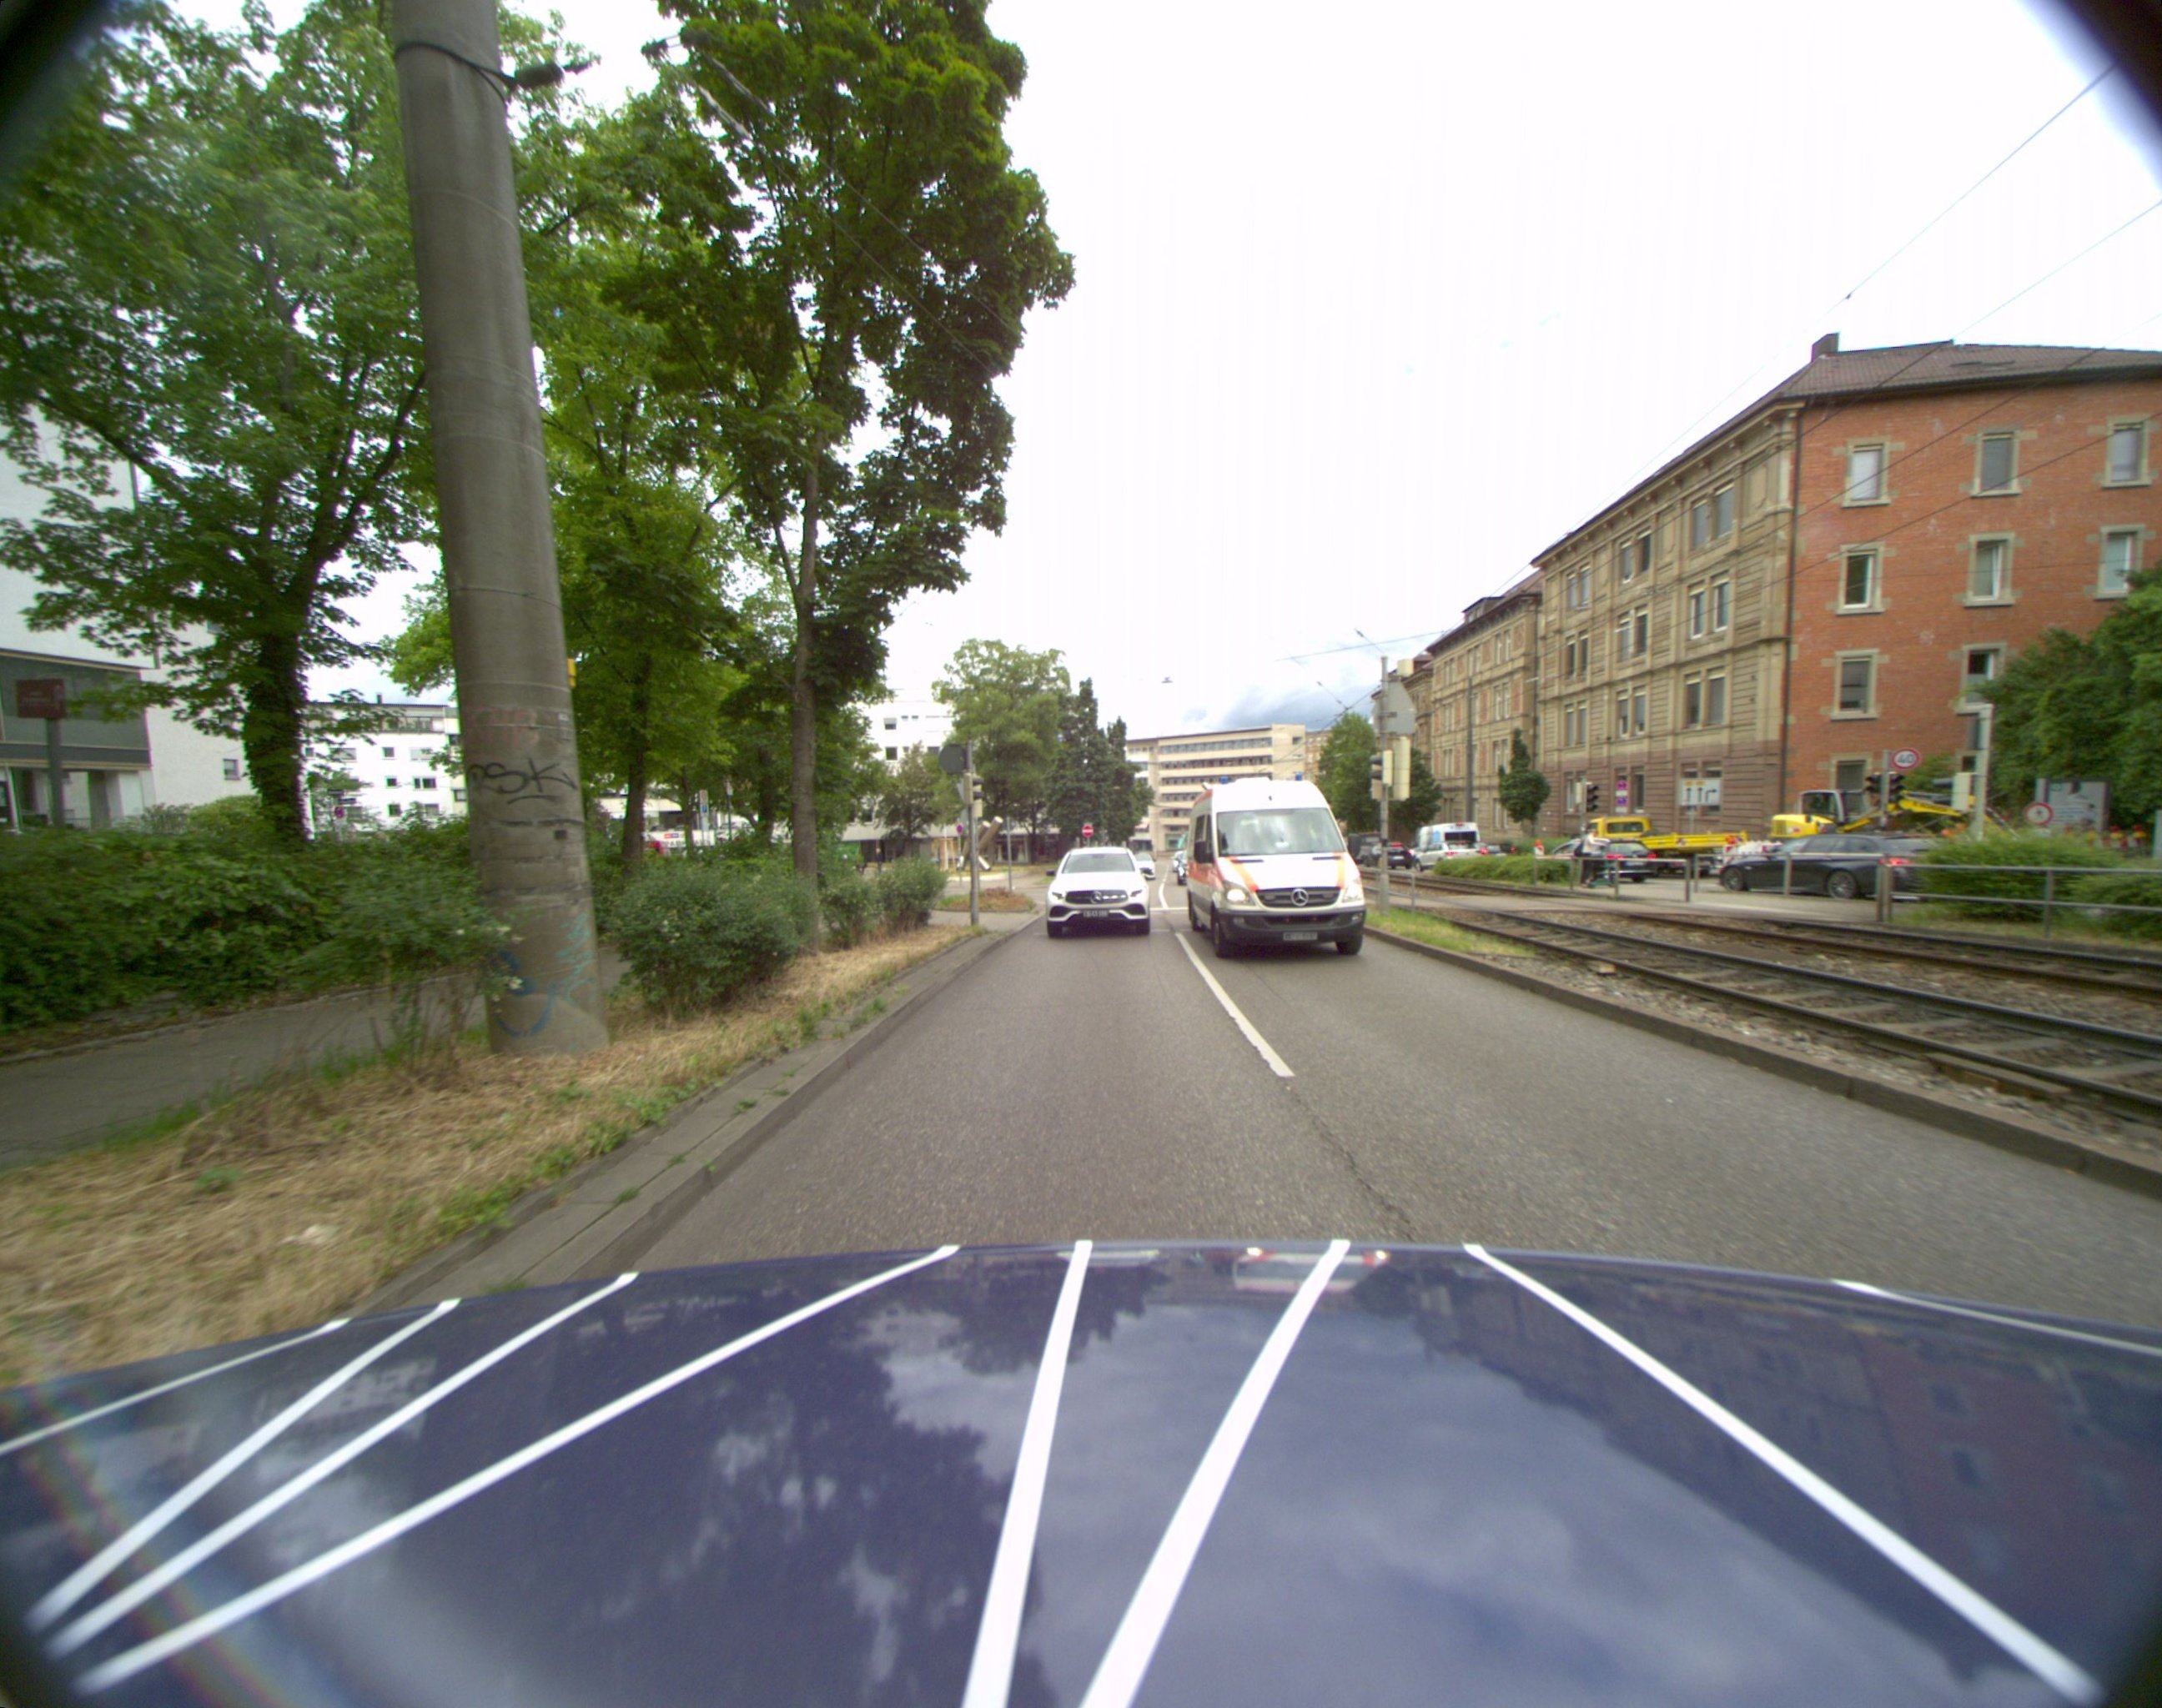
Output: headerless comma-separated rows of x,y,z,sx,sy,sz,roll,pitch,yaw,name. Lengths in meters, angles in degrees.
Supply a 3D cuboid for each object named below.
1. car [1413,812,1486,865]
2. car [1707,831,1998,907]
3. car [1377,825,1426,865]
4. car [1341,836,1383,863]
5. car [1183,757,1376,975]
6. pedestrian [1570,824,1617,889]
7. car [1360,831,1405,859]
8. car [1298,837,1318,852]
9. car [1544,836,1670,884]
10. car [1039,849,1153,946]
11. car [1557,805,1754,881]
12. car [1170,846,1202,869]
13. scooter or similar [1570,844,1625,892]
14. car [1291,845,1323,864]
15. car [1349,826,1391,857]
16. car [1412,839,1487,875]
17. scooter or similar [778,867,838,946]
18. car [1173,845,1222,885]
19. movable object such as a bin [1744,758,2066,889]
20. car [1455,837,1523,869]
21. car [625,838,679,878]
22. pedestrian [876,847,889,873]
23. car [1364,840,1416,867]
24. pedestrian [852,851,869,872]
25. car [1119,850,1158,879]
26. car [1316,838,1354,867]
20.768,-0.866,43.052,2.213,2.806,4.786,-1,1,6,car
16.756,0.243,16.972,1.885,1.427,4.846,1,1,6,car
20.934,-0.600,49.733,1.997,2.461,4.002,-1,1,9,car
18.526,-0.300,50.199,1.839,1.740,4.002,-1,1,9,car
2.875,0.142,12.458,2.038,2.684,5.856,-2,0,5,car
14.389,0.070,21.349,0.742,1.807,0.792,0,1,-16,pedestrian
21.819,-0.678,55.085,2.319,1.928,3.438,-1,1,9,car
29.335,-1.258,98.266,1.700,1.799,4.002,-2,0,6,car
17.500,0.174,25.508,1.782,1.453,4.001,-1,1,6,car
0.457,0.739,15.296,1.893,1.610,4.480,-2,0,6,car
20.849,-0.405,28.162,2.446,2.422,6.754,-2,1,3,car
7.428,0.209,54.083,1.998,1.543,4.318,-1,0,4,car
14.275,0.373,21.004,1.500,1.288,0.532,-1,1,-24,scooter or similar
20.687,0.016,69.751,1.998,1.608,4.001,-2,0,5,car
22.250,-0.987,58.728,2.240,2.275,4.002,-1,1,9,car
17.330,0.114,35.907,1.707,1.558,4.000,-1,1,2,car
-4.604,0.858,12.912,0.632,1.203,1.556,-1,1,-9,scooter or similar
5.150,0.435,33.699,1.929,1.563,4.183,-3,0,8,car
25.150,-0.846,23.814,2.754,3.527,6.546,-1,1,-4,movable object such as a bin
20.174,-0.058,37.722,1.648,1.445,3.566,-2,0,5,car
-25.194,0.230,44.793,2.129,2.200,4.884,-1,1,-22,car
-12.209,0.369,46.639,0.727,1.593,0.791,-1,1,-17,pedestrian
17.978,-0.036,44.388,1.870,1.510,3.952,-1,1,8,car
-13.323,0.458,45.941,0.655,1.284,0.686,-1,1,15,pedestrian
3.158,0.525,41.273,1.821,1.441,3.855,-1,0,8,car
18.827,-0.119,56.520,1.997,2.033,4.002,-1,1,9,car
